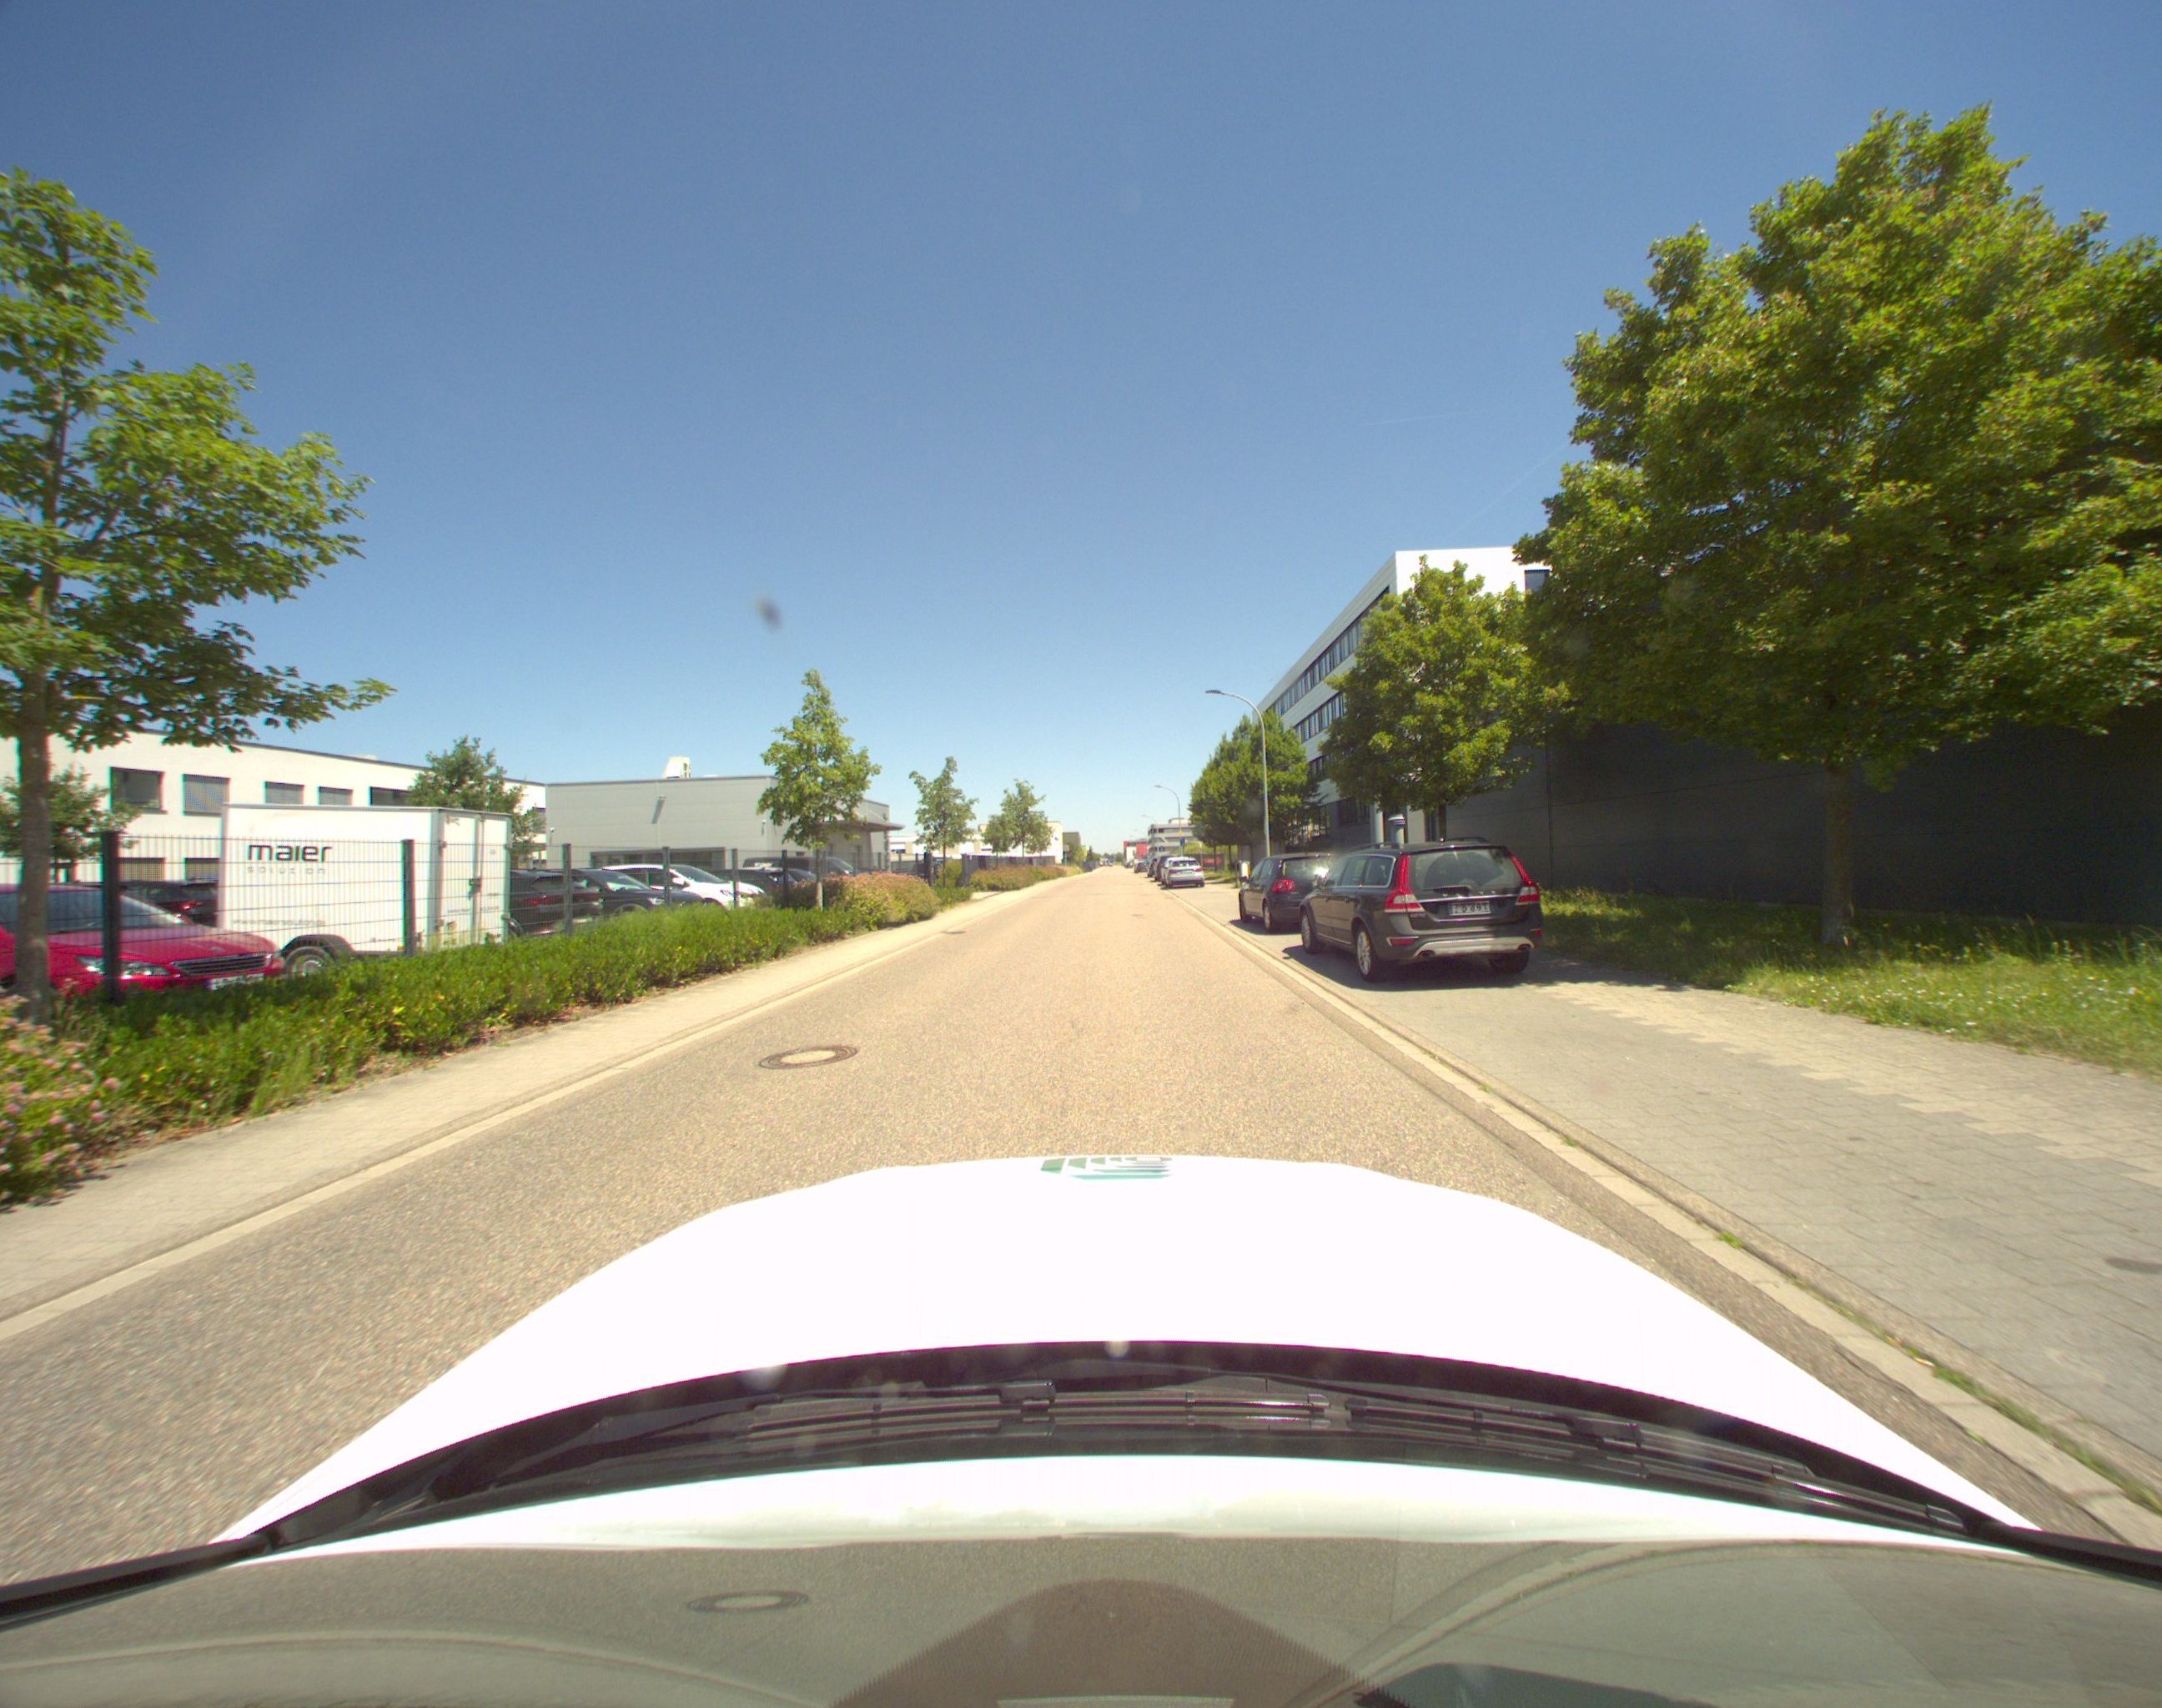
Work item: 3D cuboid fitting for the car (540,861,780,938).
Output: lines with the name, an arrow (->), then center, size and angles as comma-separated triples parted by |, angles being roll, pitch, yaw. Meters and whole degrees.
car -> -10.049, 1.064, 19.704 | 4.713, 1.629, 2.001 | -2, -1, 2

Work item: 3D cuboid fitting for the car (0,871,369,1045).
car -> -10.090, 0.968, 8.103 | 4.192, 1.452, 2.000 | -2, 0, 0

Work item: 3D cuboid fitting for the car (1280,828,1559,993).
car -> 4.110, 0.609, 10.869 | 1.801, 1.617, 4.716 | -4, 0, 2

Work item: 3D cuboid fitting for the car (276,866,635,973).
car -> -10.373, 1.041, 13.760 | 4.529, 1.535, 2.001 | -2, -1, 2

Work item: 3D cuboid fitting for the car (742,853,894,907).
car -> -9.827, 0.947, 30.679 | 5.040, 1.851, 1.965 | -1, -1, 1

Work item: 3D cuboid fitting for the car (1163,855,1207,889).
car -> 5.014, 0.845, 39.725 | 1.709, 1.423, 3.954 | -4, -1, 3

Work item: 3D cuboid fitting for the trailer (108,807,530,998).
trailer -> -10.034, 0.606, 10.984 | 3.975, 2.360, 1.726 | 0, -1, -1

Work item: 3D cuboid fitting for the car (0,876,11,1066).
car -> -10.376, 0.948, 5.358 | 4.194, 1.452, 1.776 | -2, -1, -1

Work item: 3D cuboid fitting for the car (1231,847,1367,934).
car -> 4.326, 0.669, 16.829 | 1.685, 1.476, 4.270 | -4, 0, 2

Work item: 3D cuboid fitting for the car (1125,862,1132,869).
car -> 12.647, 3.058, 215.042 | 1.769, 1.728, 4.002 | 0, -1, 3

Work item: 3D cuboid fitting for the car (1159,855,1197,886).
car -> 5.236, 0.866, 44.306 | 1.709, 1.481, 4.034 | -4, -1, 3

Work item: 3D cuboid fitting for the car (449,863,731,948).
car -> -10.207, 1.041, 17.187 | 4.713, 1.535, 2.001 | -2, -1, 2

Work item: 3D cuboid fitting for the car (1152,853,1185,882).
car -> 5.543, 0.816, 51.734 | 1.750, 1.663, 4.366 | -4, -1, 3

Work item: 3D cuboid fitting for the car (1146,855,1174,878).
car -> 6.196, 0.983, 64.380 | 1.797, 1.662, 4.609 | -4, -1, 1

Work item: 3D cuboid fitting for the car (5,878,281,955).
car -> -20.791, 1.348, 18.191 | 3.973, 1.486, 1.863 | -2, 0, 0

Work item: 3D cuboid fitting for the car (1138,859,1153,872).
car -> 8.260, 1.455, 104.050 | 1.899, 1.448, 4.005 | -4, -1, 5
